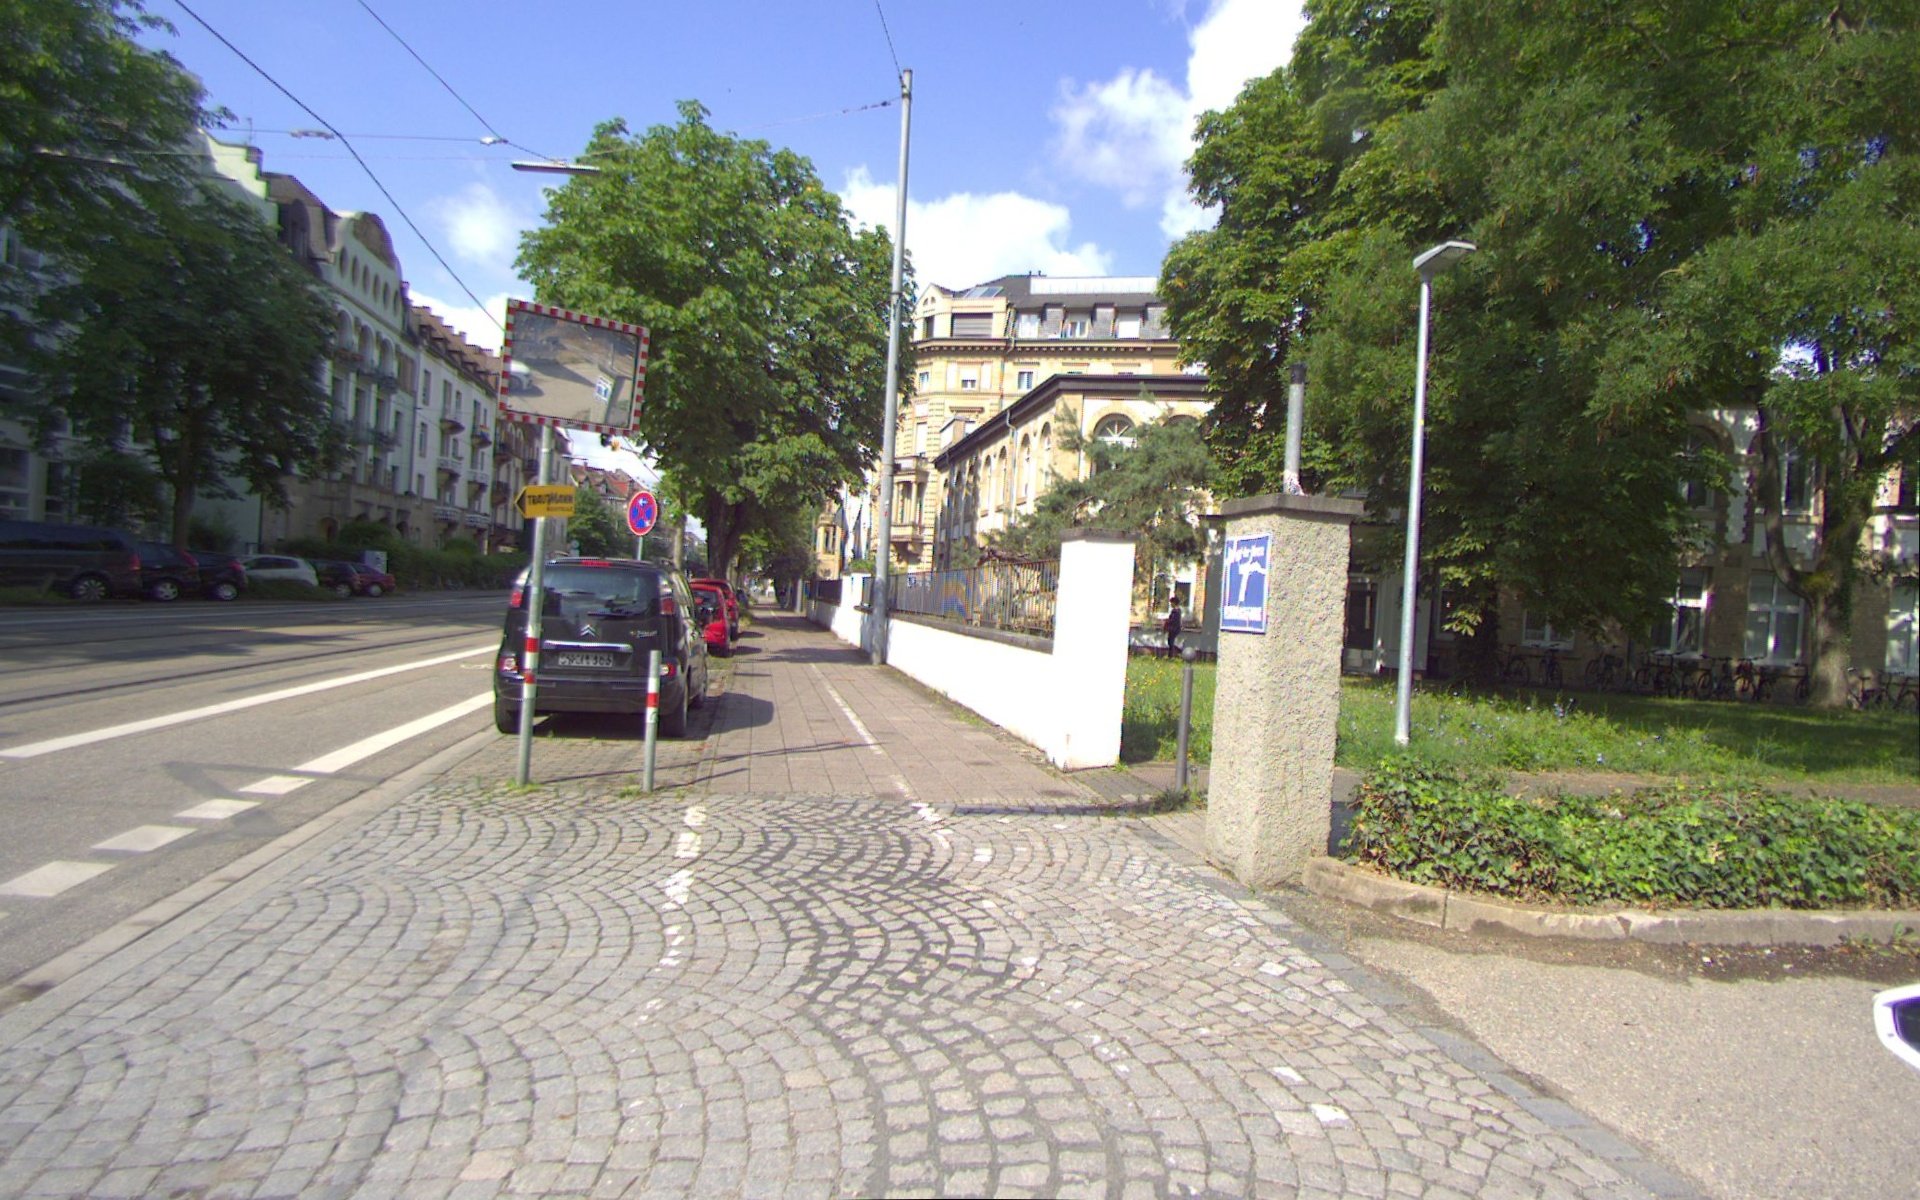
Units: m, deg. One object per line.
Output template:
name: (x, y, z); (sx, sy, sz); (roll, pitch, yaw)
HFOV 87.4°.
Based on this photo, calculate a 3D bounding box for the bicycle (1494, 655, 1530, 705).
bicycle: (13.771, 1.982, 25.088); (0.412, 1.070, 2.067); (-3, 0, 19)

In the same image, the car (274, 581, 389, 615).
car: (-26.055, -0.088, 41.712); (1.613, 1.324, 3.769); (1, 1, 39)

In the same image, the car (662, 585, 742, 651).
car: (-7.257, 0.449, 28.588); (1.931, 1.729, 3.992); (0, 1, -10)

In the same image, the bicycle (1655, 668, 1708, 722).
bicycle: (17.263, 2.247, 24.061); (0.412, 1.070, 2.067); (-3, 0, 19)

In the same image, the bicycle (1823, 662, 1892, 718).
bicycle: (20.580, 2.036, 23.064); (0.411, 1.070, 2.067); (1, 1, 19)

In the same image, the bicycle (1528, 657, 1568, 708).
bicycle: (14.594, 2.027, 24.967); (0.411, 1.070, 2.067); (-3, 0, 19)

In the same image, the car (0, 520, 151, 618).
car: (-21.687, -0.730, 23.250); (1.851, 2.109, 4.195); (3, 0, 32)

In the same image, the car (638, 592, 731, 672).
car: (-5.818, 0.609, 21.530); (1.643, 1.506, 3.272); (-2, 1, -11)

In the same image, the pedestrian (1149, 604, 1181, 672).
pedestrian: (5.250, 0.964, 25.716); (0.757, 1.700, 0.809); (0, 1, 15)

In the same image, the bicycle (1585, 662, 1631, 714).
bicycle: (15.671, 2.108, 24.344); (0.412, 1.070, 2.067); (-3, 0, 19)

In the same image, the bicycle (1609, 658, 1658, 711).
bicycle: (16.215, 2.013, 24.224); (0.412, 1.070, 2.067); (-3, 0, 19)

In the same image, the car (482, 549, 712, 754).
car: (-3.492, 0.463, 10.273); (1.650, 1.633, 3.577); (-3, -1, -12)

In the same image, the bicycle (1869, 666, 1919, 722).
bicycle: (21.411, 2.105, 22.764); (0.411, 1.070, 2.067); (1, 1, 19)

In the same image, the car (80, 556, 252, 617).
car: (-23.114, -0.375, 29.342); (1.559, 1.548, 3.640); (3, 0, 38)

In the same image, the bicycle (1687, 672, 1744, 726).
bicycle: (17.904, 2.332, 23.836); (0.411, 1.070, 2.067); (-3, 0, 19)

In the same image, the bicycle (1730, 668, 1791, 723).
bicycle: (18.677, 2.203, 23.474); (0.411, 1.070, 2.067); (-3, 0, 19)

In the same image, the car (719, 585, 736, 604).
car: (-24.448, -0.595, 105.665); (1.598, 2.027, 3.556); (0, 1, -12)

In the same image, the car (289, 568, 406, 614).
car: (-24.438, -0.336, 40.168); (1.608, 1.599, 3.590); (3, 0, 38)

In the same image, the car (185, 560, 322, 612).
car: (-24.991, -0.529, 35.644); (1.608, 1.599, 3.588); (-1, 3, 38)

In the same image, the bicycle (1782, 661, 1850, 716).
bicycle: (19.777, 2.029, 23.248); (0.411, 1.070, 2.067); (-3, 0, 19)

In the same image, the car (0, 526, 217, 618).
car: (-22.434, -0.689, 26.456); (1.854, 2.109, 4.187); (3, 0, 38)

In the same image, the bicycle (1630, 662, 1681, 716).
bicycle: (16.632, 2.106, 24.050); (0.412, 1.070, 2.067); (-3, 0, 19)

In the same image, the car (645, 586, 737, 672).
car: (-5.749, 0.604, 21.819); (1.650, 1.633, 3.577); (-3, 0, -12)

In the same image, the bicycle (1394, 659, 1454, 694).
bicycle: (12.168, 2.006, 26.367); (1.365, 0.831, 0.420); (-3, 0, 17)
